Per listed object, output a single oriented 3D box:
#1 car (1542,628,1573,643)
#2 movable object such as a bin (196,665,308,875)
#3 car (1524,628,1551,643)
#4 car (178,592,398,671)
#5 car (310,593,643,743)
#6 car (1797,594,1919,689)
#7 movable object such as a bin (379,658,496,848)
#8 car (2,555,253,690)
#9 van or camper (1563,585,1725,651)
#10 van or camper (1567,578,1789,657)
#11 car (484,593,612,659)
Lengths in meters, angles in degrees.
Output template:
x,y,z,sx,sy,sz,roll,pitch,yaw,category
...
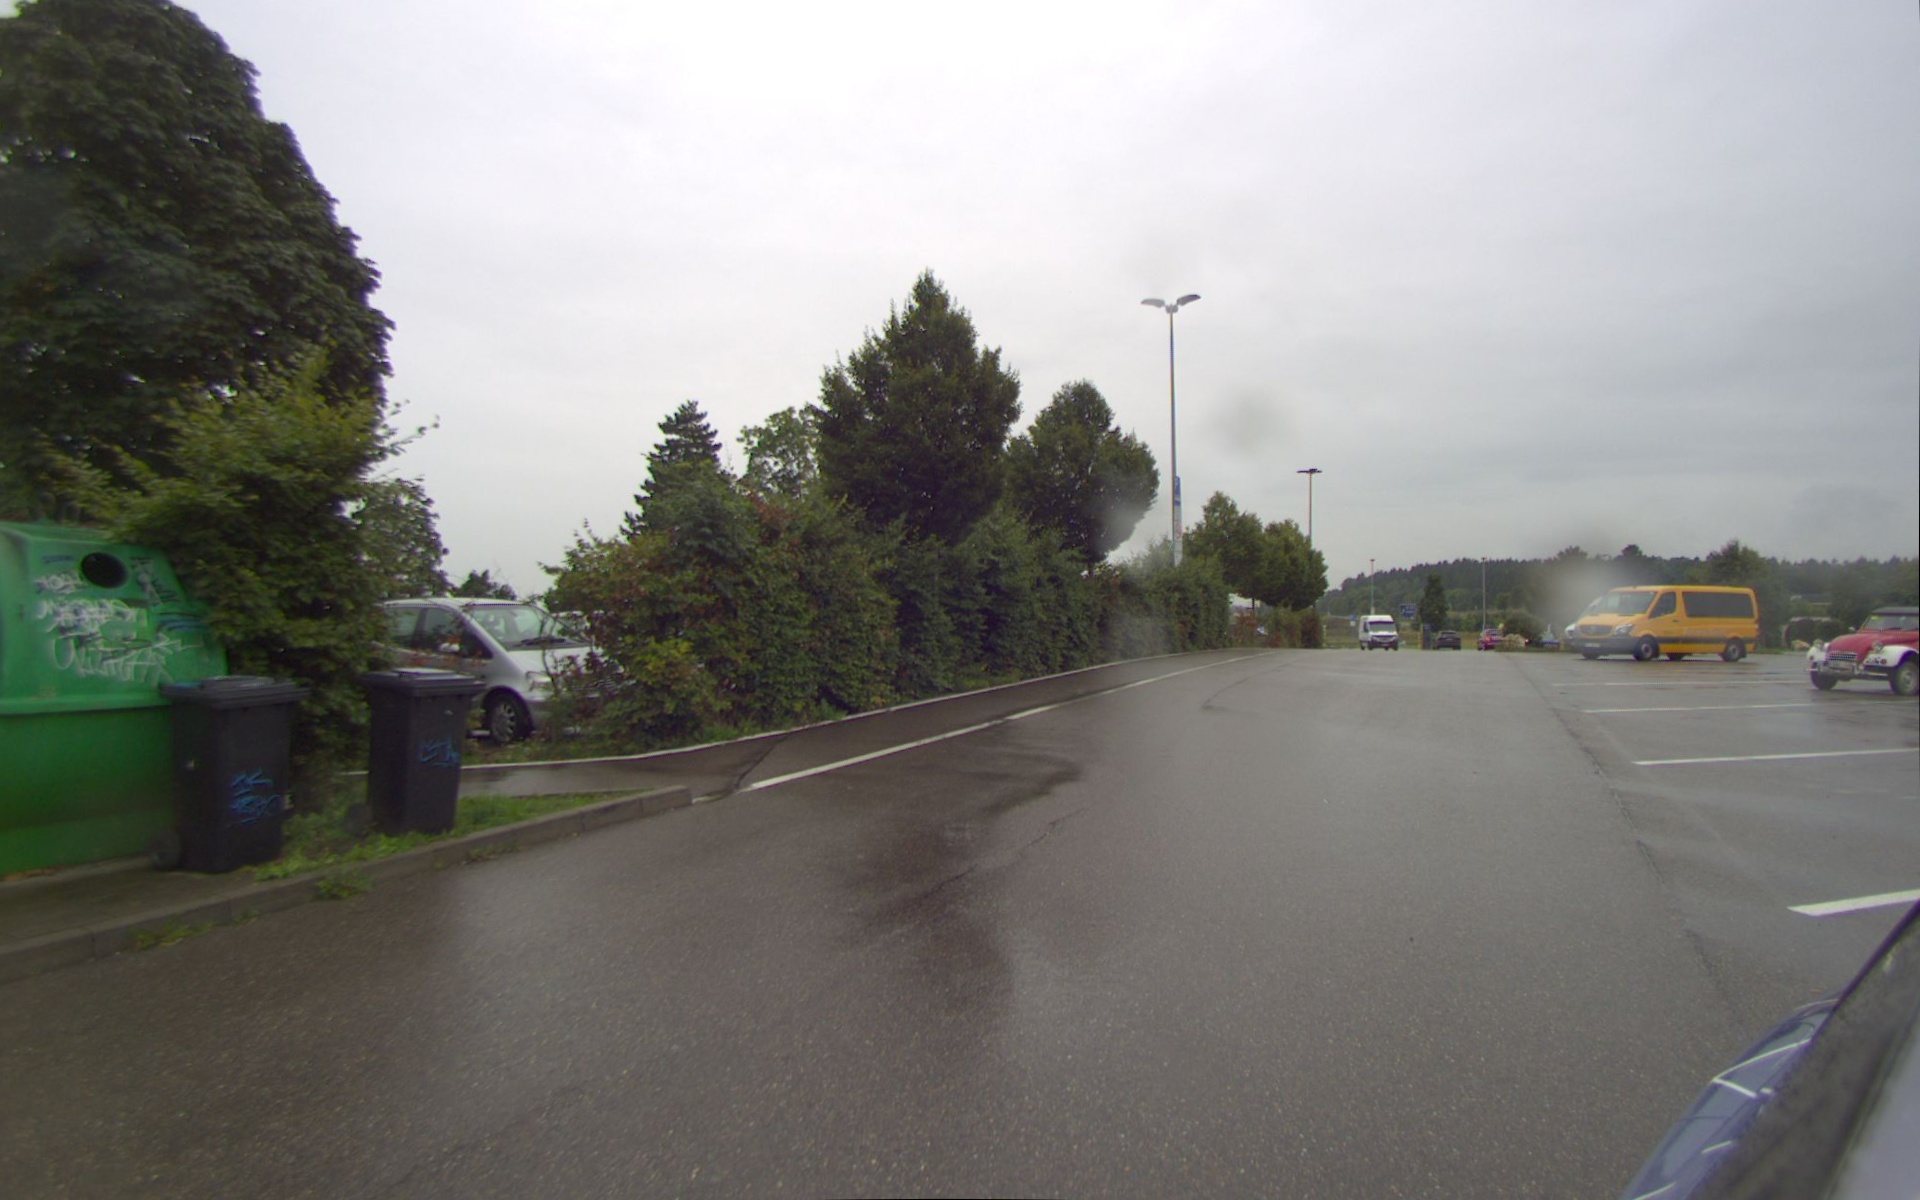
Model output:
x,y,z,sx,sy,sz,roll,pitch,yaw,category
48.996,2.888,83.004,1.690,1.013,3.739,0,0,23,car
-3.497,0.810,5.025,0.408,0.932,0.495,0,0,-30,movable object such as a bin
46.895,2.875,82.198,1.483,1.013,3.542,0,0,22,car
-14.091,0.592,21.168,4.725,1.491,1.867,0,0,29,car
-5.641,0.745,11.791,3.627,1.531,1.535,-2,-1,25,car
17.245,0.702,18.012,3.971,1.575,1.553,0,0,-14,car
-2.922,0.816,5.649,0.546,0.932,0.631,0,0,-30,movable object such as a bin
-15.353,0.362,18.618,4.725,2.216,1.980,0,0,29,car
30.370,0.784,44.911,6.919,2.749,2.005,0,1,-17,van or camper
21.912,0.508,30.893,6.282,2.275,2.139,0,0,-17,van or camper
-13.287,0.818,32.618,3.745,2.039,1.772,-1,-1,25,car
